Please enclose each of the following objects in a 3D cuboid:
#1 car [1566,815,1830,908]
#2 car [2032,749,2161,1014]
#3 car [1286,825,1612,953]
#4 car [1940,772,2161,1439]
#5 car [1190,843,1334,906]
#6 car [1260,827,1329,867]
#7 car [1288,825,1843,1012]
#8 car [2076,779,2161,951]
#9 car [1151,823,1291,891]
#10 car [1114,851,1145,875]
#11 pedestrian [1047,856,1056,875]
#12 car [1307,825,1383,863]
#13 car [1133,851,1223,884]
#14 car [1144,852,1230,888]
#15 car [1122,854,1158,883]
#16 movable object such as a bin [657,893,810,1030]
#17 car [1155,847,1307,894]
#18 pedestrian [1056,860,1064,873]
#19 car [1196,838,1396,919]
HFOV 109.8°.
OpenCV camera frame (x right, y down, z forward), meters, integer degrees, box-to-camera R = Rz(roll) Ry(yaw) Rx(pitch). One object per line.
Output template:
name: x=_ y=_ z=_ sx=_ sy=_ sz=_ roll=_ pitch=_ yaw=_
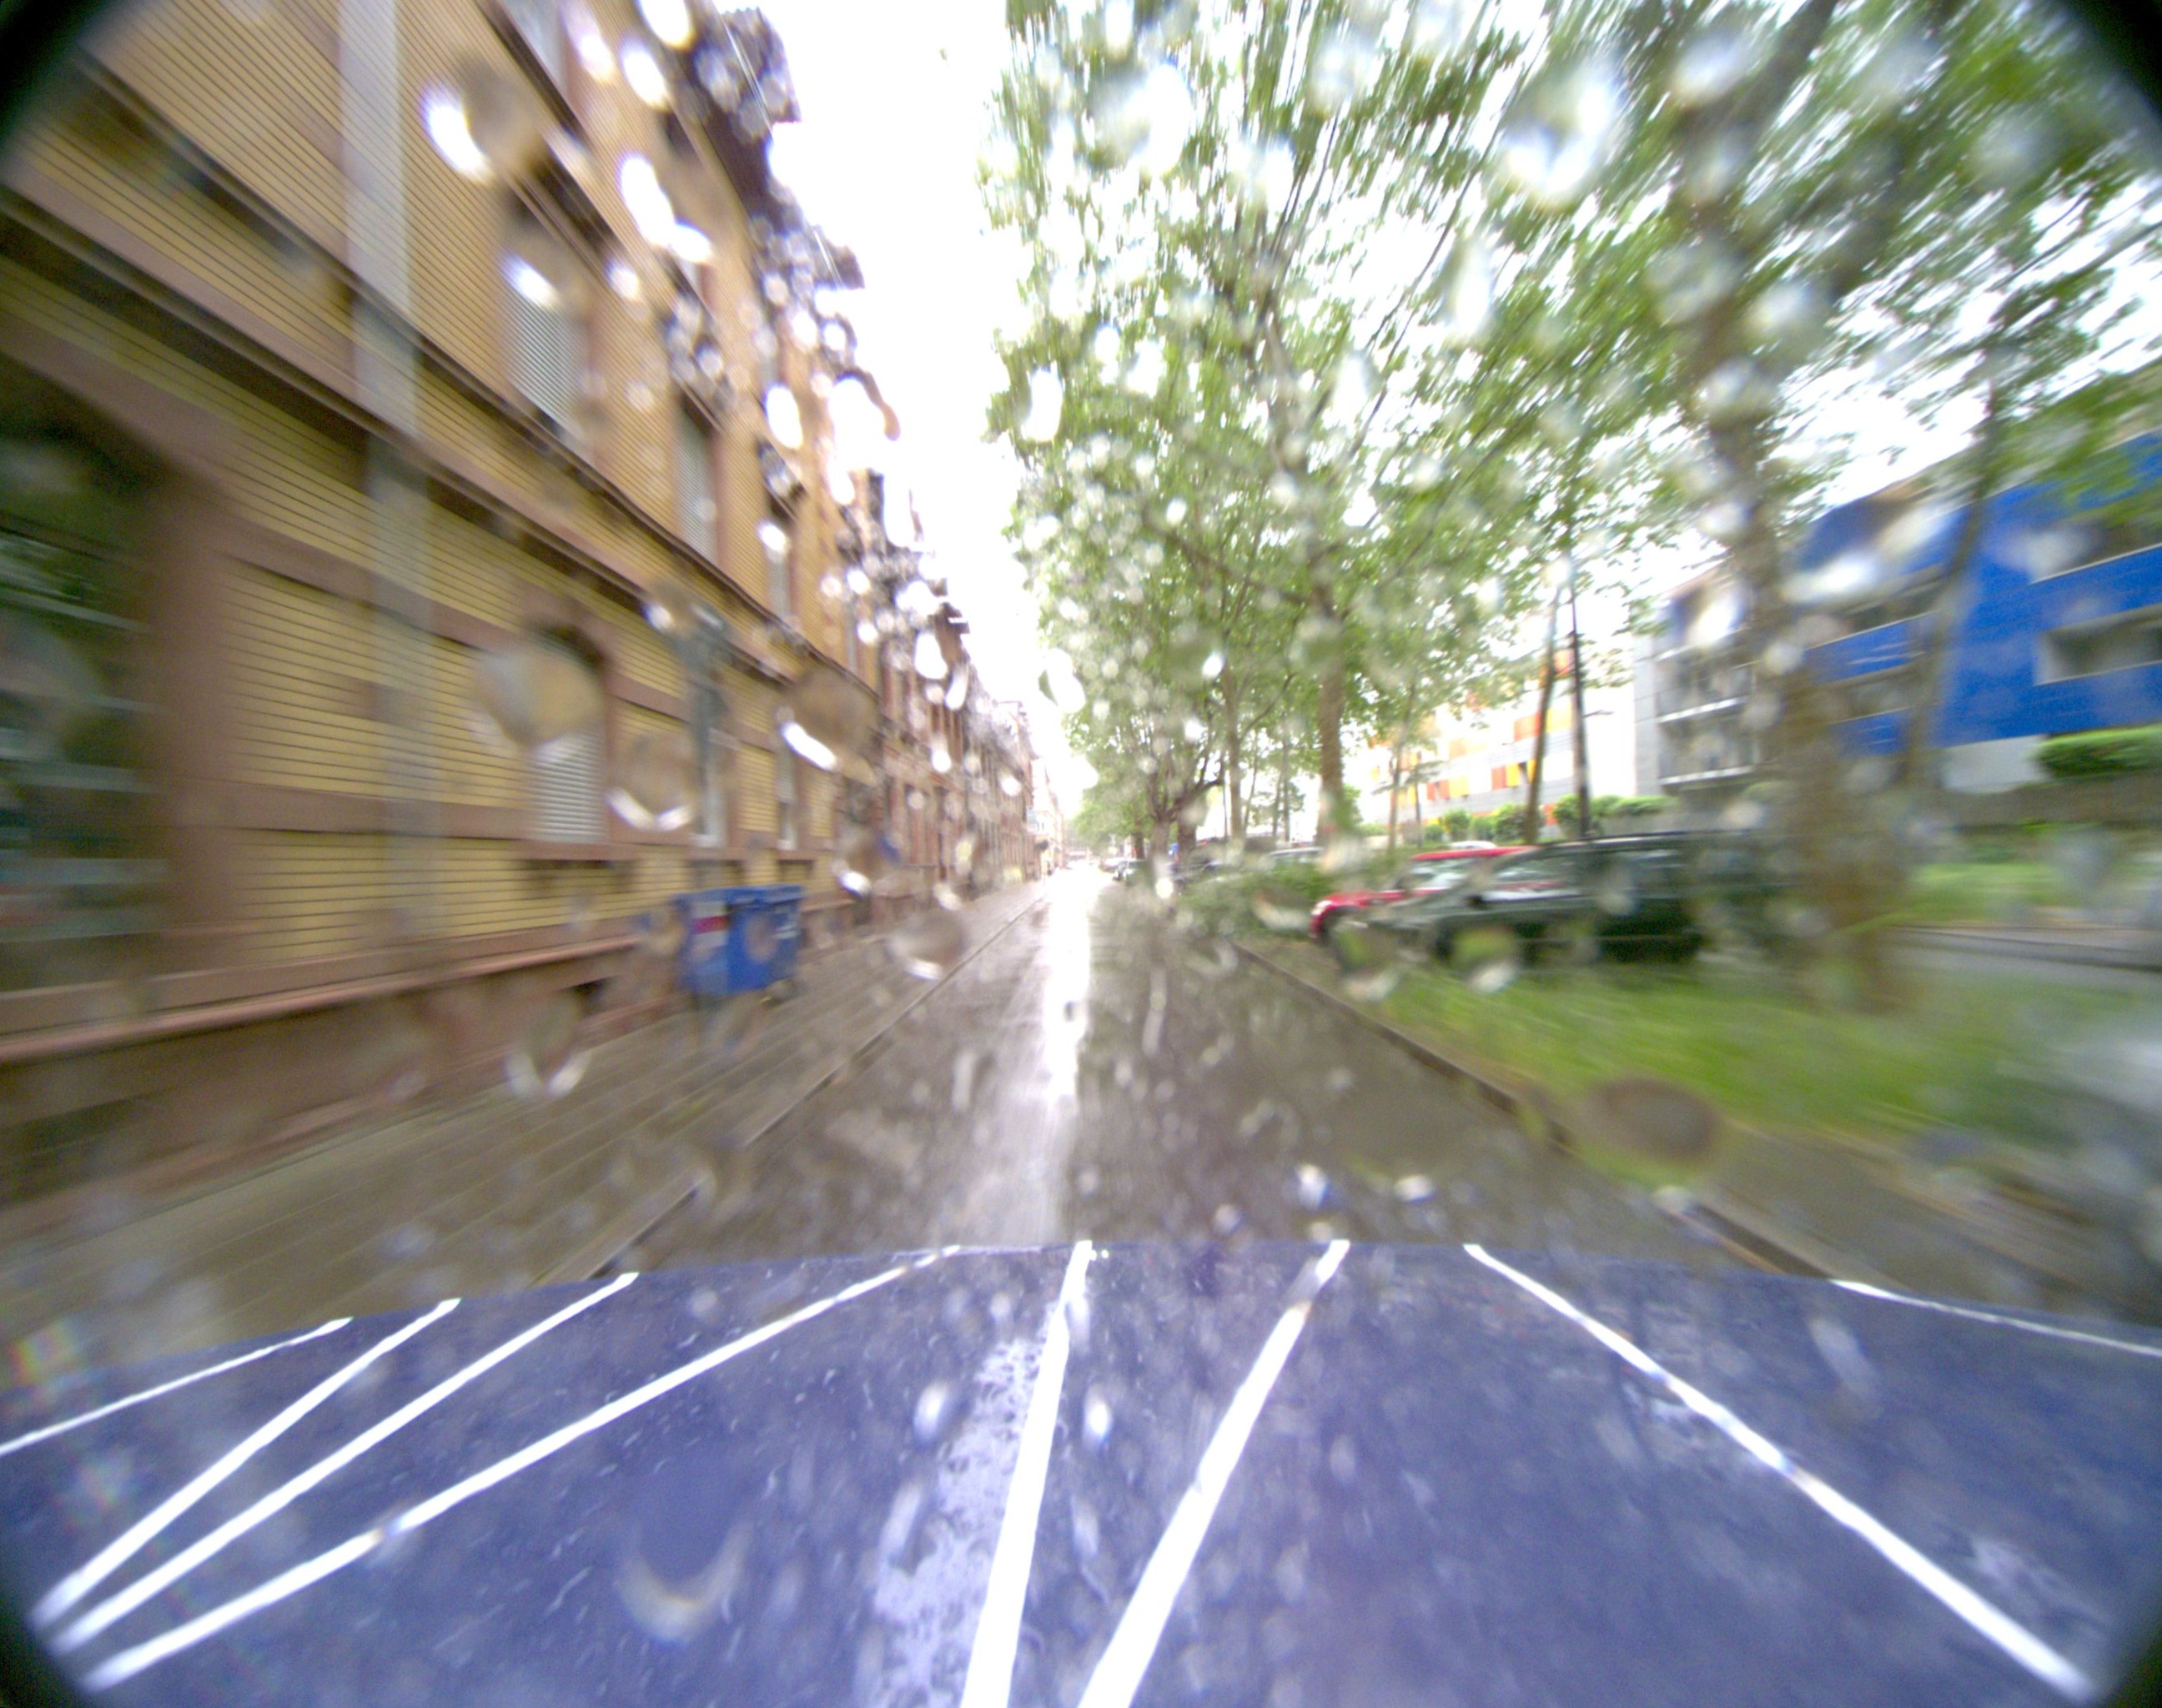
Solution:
car: x=12.374 y=0.121 z=15.678 sx=1.909 sy=1.525 sz=4.215 roll=-4 pitch=0 yaw=-1
car: x=9.152 y=0.139 z=3.839 sx=2.043 sy=1.988 sz=5.158 roll=-4 pitch=0 yaw=-2
car: x=4.927 y=0.496 z=10.406 sx=3.645 sy=1.471 sz=1.746 roll=-5 pitch=0 yaw=31
car: x=4.657 y=0.561 z=0.941 sx=4.406 sy=1.636 sz=1.875 roll=-1 pitch=1 yaw=32
car: x=4.836 y=0.538 z=20.236 sx=3.504 sy=1.459 sz=1.644 roll=-3 pitch=1 yaw=20
car: x=12.317 y=-0.390 z=44.275 sx=2.059 sy=1.985 sz=5.432 roll=-6 pitch=0 yaw=-3
car: x=4.489 y=0.625 z=7.733 sx=4.221 sy=1.471 sz=1.746 roll=-5 pitch=0 yaw=28
car: x=11.920 y=0.053 z=6.119 sx=1.909 sy=1.730 sz=4.420 roll=-4 pitch=0 yaw=-1
car: x=5.239 y=0.136 z=28.589 sx=4.648 sy=2.270 sz=2.015 roll=-3 pitch=1 yaw=30
car: x=3.470 y=0.631 z=55.044 sx=1.901 sy=1.476 sz=4.621 roll=-5 pitch=0 yaw=0
pedestrian: x=-2.885 y=1.130 z=74.650 sx=0.787 sy=1.903 sz=0.929 roll=0 pitch=1 yaw=0
car: x=12.186 y=-0.460 z=35.374 sx=1.909 sy=1.525 sz=4.215 roll=-4 pitch=0 yaw=-1
car: x=4.863 y=0.687 z=37.981 sx=4.037 sy=1.426 sz=1.784 roll=-3 pitch=1 yaw=25
car: x=4.953 y=0.751 z=35.522 sx=3.495 sy=1.428 sz=1.784 roll=-3 pitch=1 yaw=28
car: x=3.478 y=0.818 z=45.739 sx=1.733 sy=1.506 sz=4.207 roll=-5 pitch=0 yaw=0
movable object such as a bin: x=-3.724 y=1.112 z=8.285 sx=1.024 sy=1.294 sz=1.367 roll=0 pitch=0 yaw=0
car: x=5.046 y=0.571 z=25.739 sx=4.649 sy=1.318 sz=1.850 roll=-3 pitch=1 yaw=28
pedestrian: x=-2.493 y=1.449 z=90.376 sx=0.849 sy=1.564 sz=0.576 roll=1 pitch=1 yaw=1
car: x=4.942 y=0.568 z=17.463 sx=4.056 sy=1.528 sz=1.838 roll=-5 pitch=0 yaw=26
